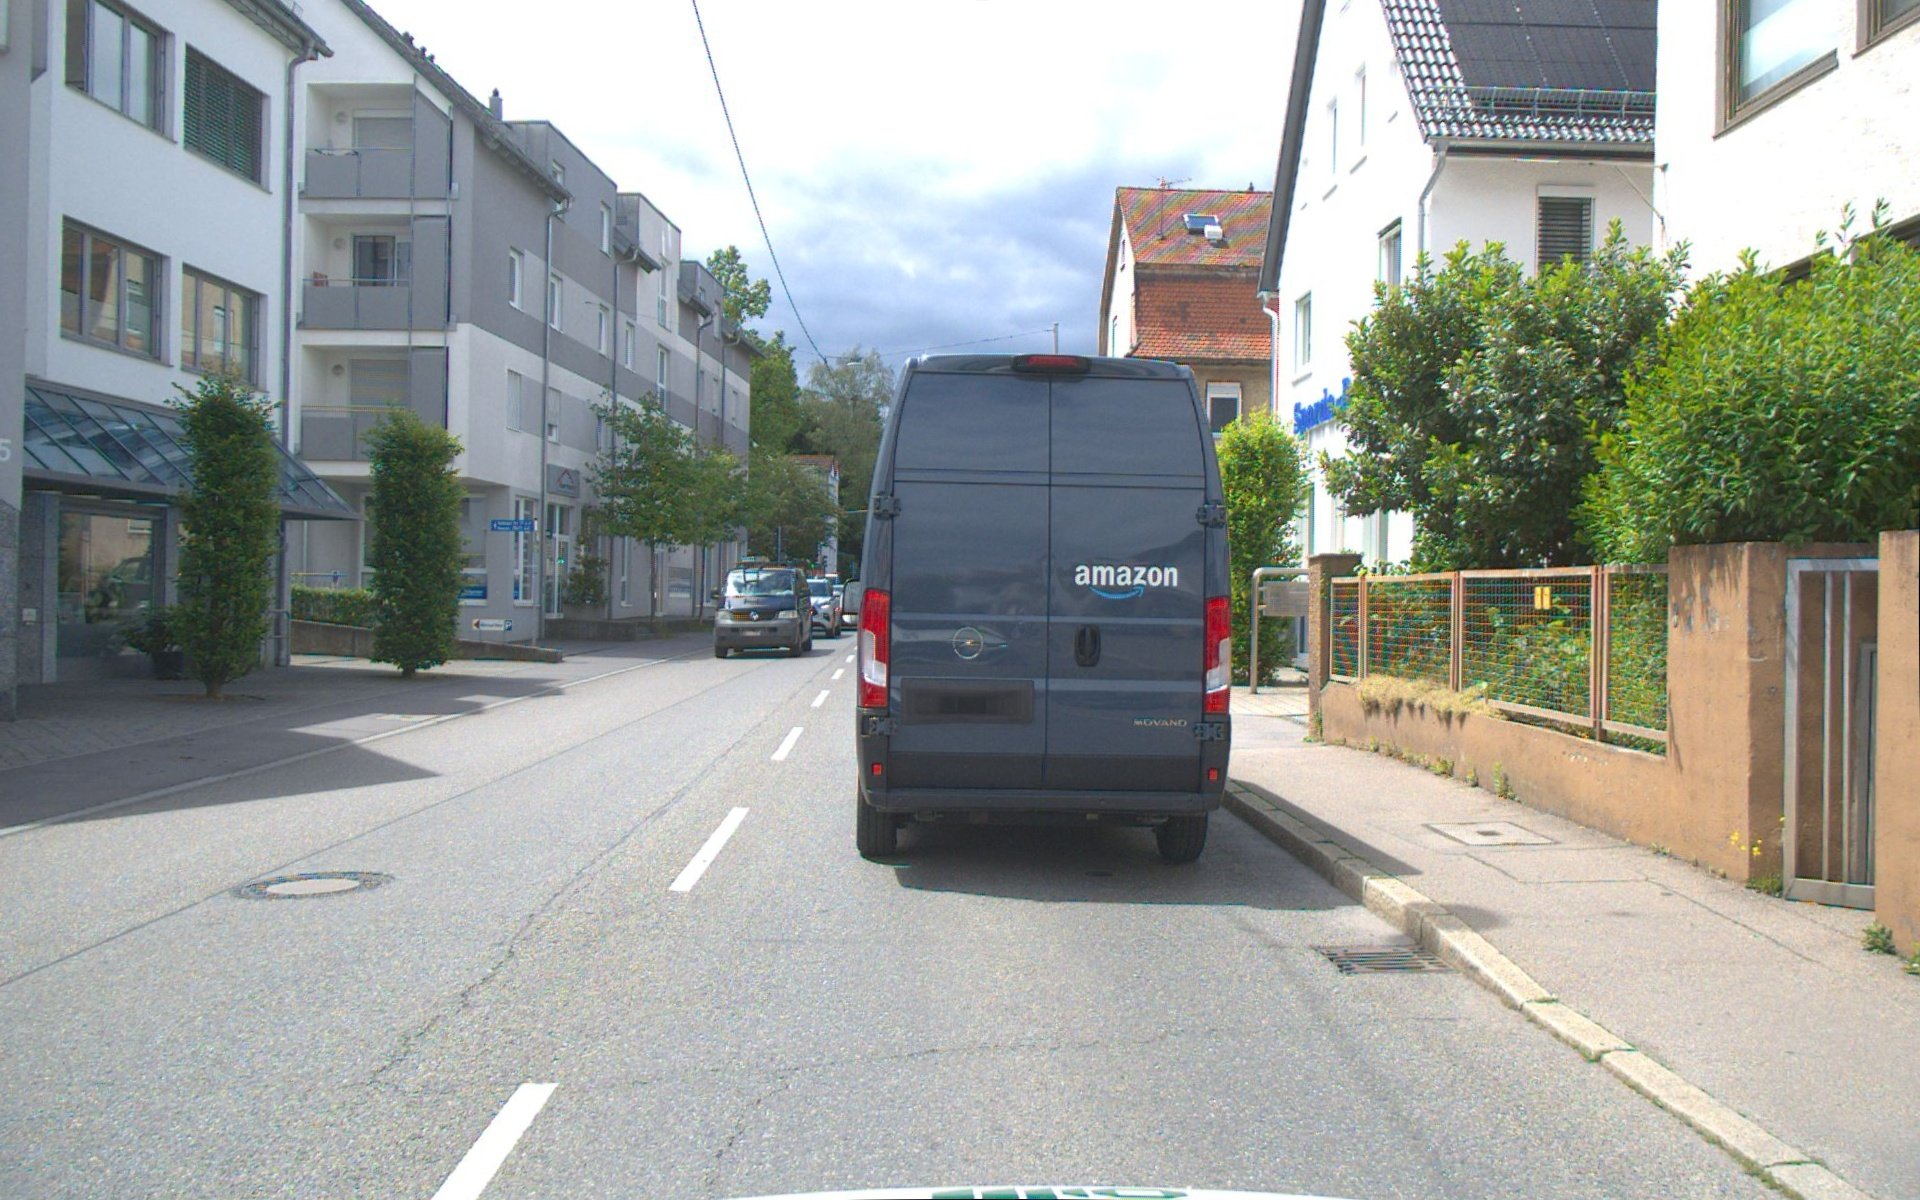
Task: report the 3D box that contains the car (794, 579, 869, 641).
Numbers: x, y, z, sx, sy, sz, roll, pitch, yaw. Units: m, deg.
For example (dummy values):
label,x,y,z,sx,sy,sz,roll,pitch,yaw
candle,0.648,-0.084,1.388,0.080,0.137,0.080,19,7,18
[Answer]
label,x,y,z,sx,sy,sz,roll,pitch,yaw
car,-3.789,0.263,49.513,2.063,1.739,4.763,1,0,-2

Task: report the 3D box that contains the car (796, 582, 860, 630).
label,x,y,z,sx,sy,sz,roll,pitch,yaw
car,-4.638,0.194,58.489,2.063,1.624,4.648,1,0,-2

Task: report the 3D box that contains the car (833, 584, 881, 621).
label,x,y,z,sx,sy,sz,roll,pitch,yaw
car,-4.674,0.092,75.466,2.063,1.624,4.648,1,0,-2

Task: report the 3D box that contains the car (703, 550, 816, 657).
label,x,y,z,sx,sy,sz,roll,pitch,yaw
car,-4.322,0.051,36.347,2.063,2.158,4.763,-1,0,-2

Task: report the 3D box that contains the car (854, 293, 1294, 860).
label,x,y,z,sx,sy,sz,roll,pitch,yaw
car,0.460,-0.123,11.149,2.207,2.844,5.566,1,0,-3

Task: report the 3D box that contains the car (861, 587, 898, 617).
label,x,y,z,sx,sy,sz,roll,pitch,yaw
car,-4.548,0.095,93.676,2.063,1.624,4.648,1,0,-2
